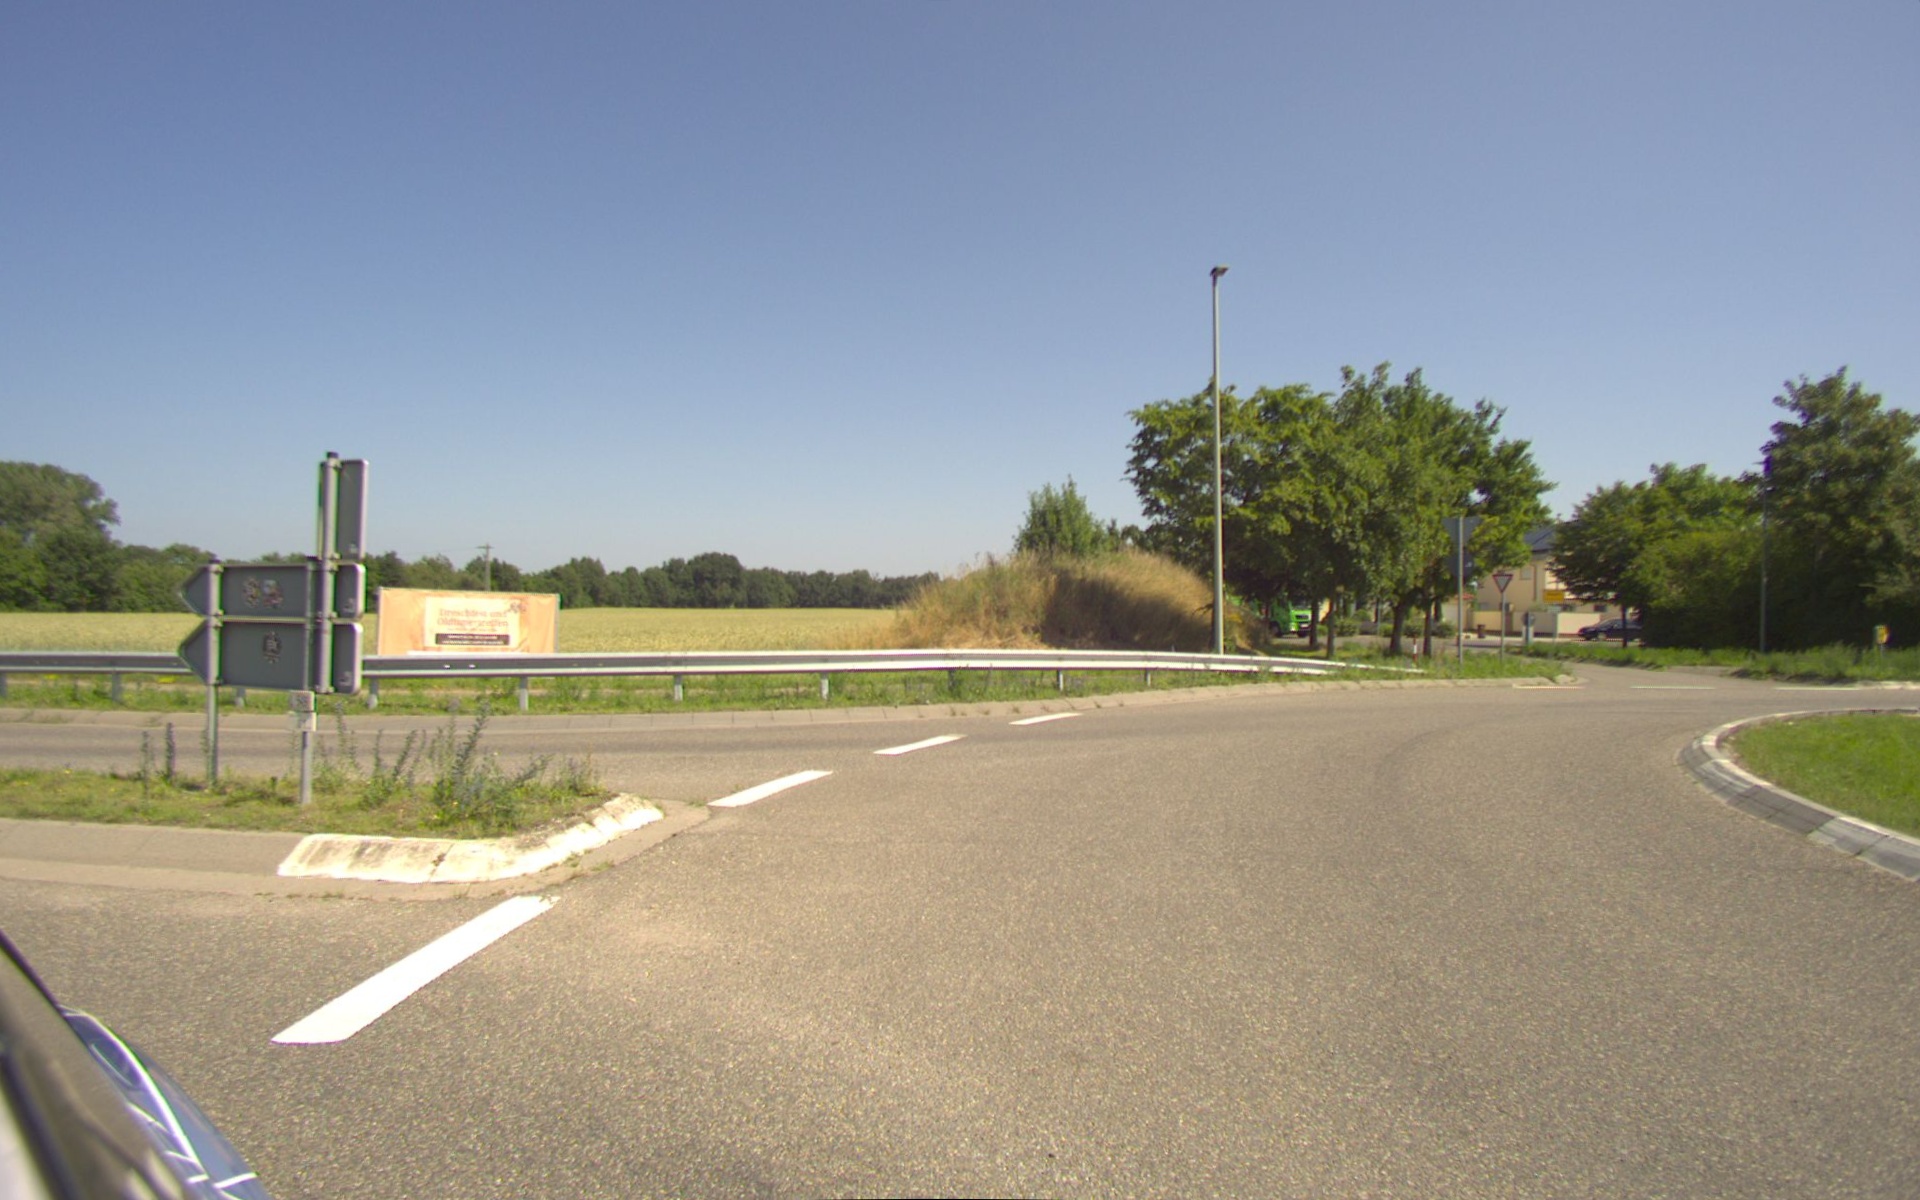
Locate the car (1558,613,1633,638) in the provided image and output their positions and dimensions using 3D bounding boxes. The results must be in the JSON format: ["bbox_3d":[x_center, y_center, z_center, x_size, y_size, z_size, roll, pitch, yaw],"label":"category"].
[{"bbox_3d":[40.205,1.585,64.110,3.683,1.515,1.608,0,1,4],"label":"car"}]

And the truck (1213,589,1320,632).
[{"bbox_3d":[20.430,0.608,67.953,2.478,2.669,7.713,0,1,-24],"label":"truck"}]
